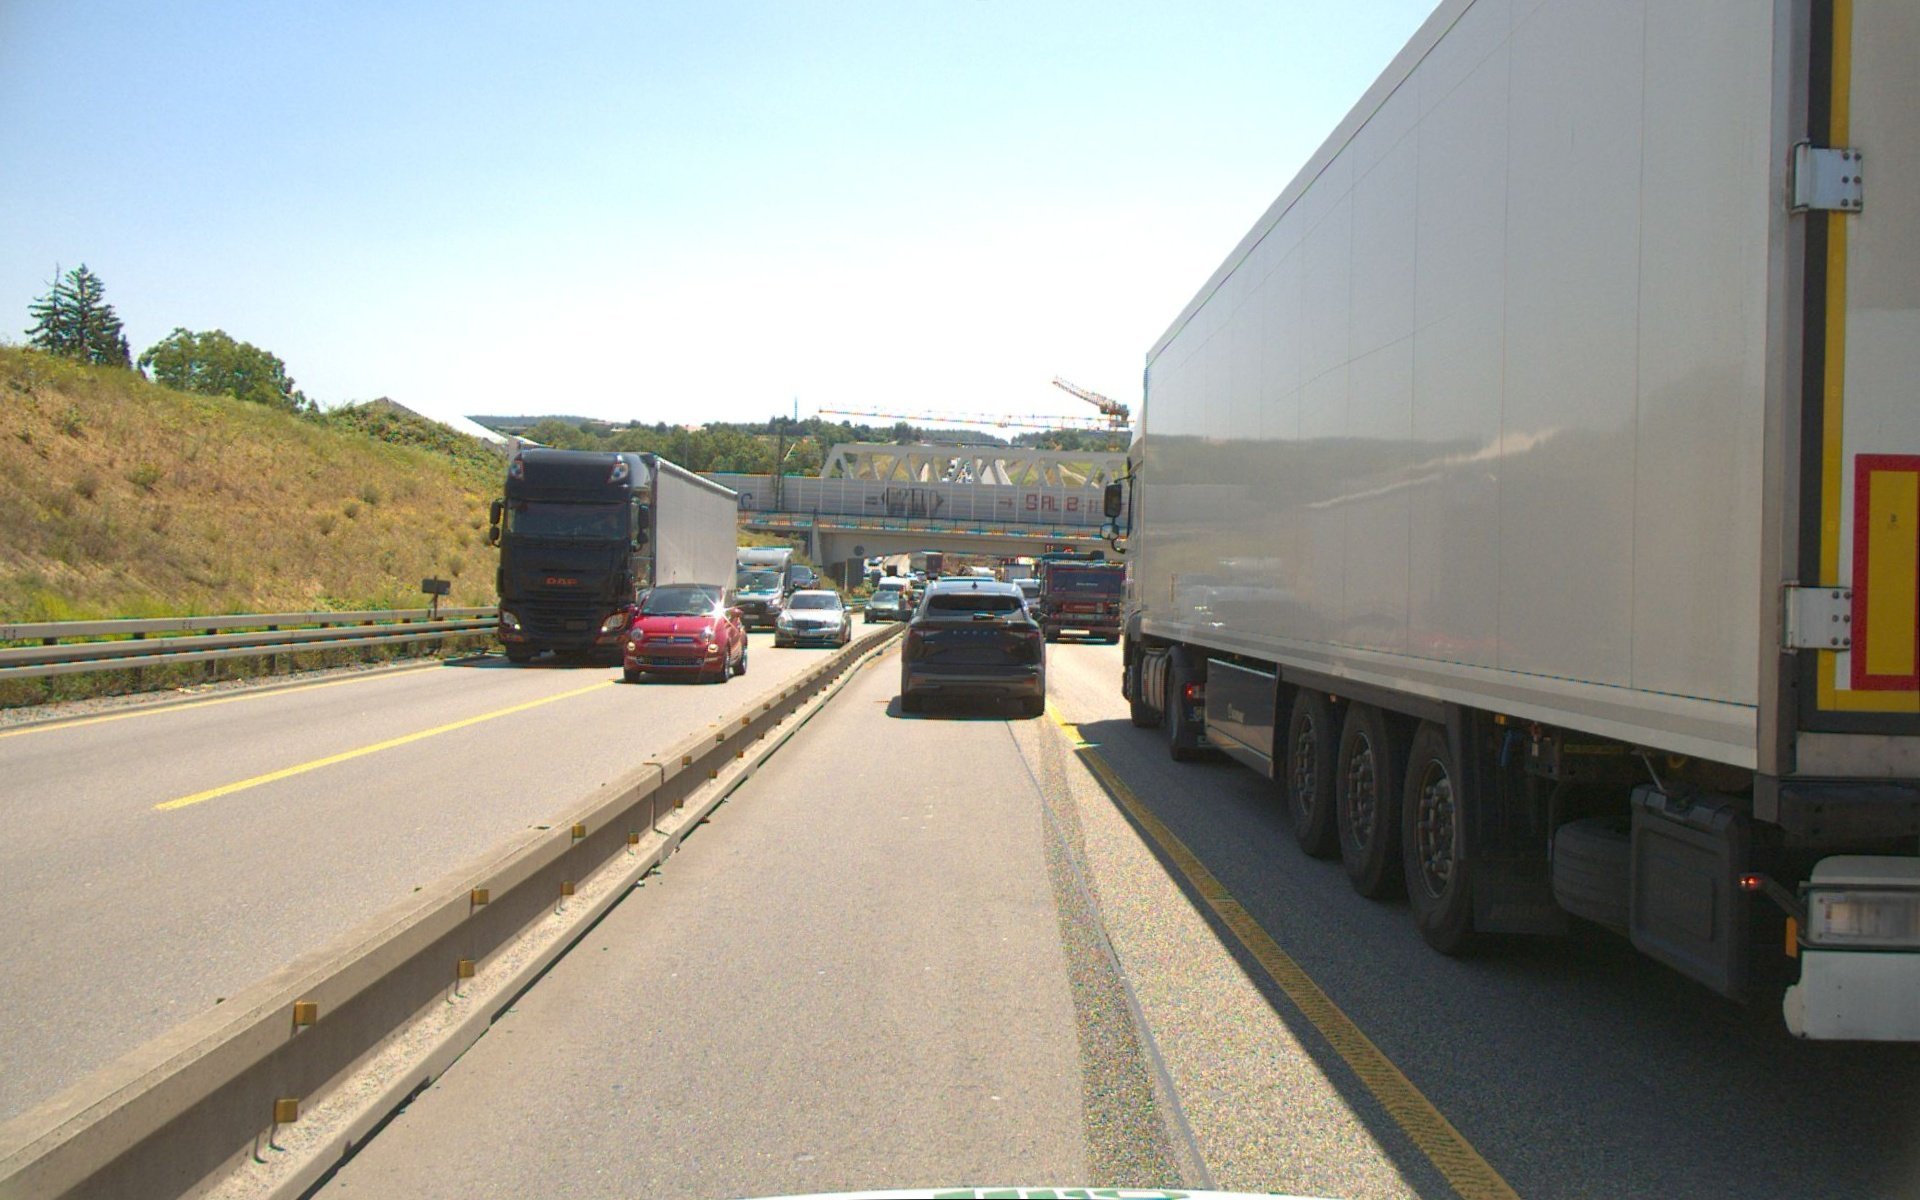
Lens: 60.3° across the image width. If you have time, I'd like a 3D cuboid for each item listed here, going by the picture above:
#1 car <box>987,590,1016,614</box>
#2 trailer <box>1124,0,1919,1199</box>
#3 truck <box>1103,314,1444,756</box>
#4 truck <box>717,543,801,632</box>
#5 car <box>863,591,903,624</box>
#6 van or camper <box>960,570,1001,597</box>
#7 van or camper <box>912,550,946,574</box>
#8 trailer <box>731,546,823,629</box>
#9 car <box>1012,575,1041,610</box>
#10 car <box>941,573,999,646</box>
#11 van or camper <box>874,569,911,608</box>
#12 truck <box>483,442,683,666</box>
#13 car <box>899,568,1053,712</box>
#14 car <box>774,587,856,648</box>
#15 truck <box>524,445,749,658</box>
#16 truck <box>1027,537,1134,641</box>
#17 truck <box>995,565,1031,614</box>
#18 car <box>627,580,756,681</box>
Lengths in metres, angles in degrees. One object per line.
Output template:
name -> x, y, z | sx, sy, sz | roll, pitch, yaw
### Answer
car -> 2.484, 0.113, 99.343 | 1.461, 1.354, 3.243 | 2, 0, -2
trailer -> 3.220, -0.570, 10.969 | 2.744, 4.129, 14.116 | 1, 0, 0
truck -> 3.177, -0.627, 18.096 | 2.720, 4.129, 4.904 | 1, 0, 0
truck -> -7.037, -0.440, 58.518 | 2.222, 2.932, 5.851 | 1, 0, 0
car -> -3.559, 0.327, 77.113 | 1.631, 1.453, 4.000 | 0, 0, 1
van or camper -> 2.723, -2.304, 224.365 | 3.872, 3.479, 8.385 | 1, 1, -11
van or camper -> -4.836, -5.920, 258.947 | 3.872, 3.479, 8.385 | 1, 1, -11
trailer -> -7.109, -0.493, 65.922 | 2.222, 2.932, 13.041 | 1, 0, 0
car -> 4.598, -0.519, 114.753 | 1.628, 2.309, 3.795 | 2, 0, -2
car -> 0.278, 0.235, 43.849 | 1.444, 1.826, 3.298 | 2, 0, 1
van or camper -> -4.500, -0.763, 111.345 | 2.170, 2.524, 4.751 | 1, 0, 1
truck -> -7.195, -0.837, 32.220 | 2.711, 3.952, 4.963 | 1, 0, -1
car -> 0.177, 0.468, 21.116 | 1.764, 1.649, 3.297 | 2, 0, -1
car -> -3.739, 0.419, 43.179 | 1.789, 1.513, 4.195 | 1, 0, -1
truck -> -7.292, -1.004, 39.670 | 2.711, 4.159, 13.804 | 1, 0, -1
truck -> 3.999, -0.391, 57.682 | 2.756, 3.189, 12.837 | 1, 0, 0
truck -> 4.946, -0.984, 155.196 | 3.110, 4.393, 9.258 | 1, 0, 0
car -> -4.261, 0.448, 26.624 | 1.558, 1.513, 3.295 | 1, 0, -1
